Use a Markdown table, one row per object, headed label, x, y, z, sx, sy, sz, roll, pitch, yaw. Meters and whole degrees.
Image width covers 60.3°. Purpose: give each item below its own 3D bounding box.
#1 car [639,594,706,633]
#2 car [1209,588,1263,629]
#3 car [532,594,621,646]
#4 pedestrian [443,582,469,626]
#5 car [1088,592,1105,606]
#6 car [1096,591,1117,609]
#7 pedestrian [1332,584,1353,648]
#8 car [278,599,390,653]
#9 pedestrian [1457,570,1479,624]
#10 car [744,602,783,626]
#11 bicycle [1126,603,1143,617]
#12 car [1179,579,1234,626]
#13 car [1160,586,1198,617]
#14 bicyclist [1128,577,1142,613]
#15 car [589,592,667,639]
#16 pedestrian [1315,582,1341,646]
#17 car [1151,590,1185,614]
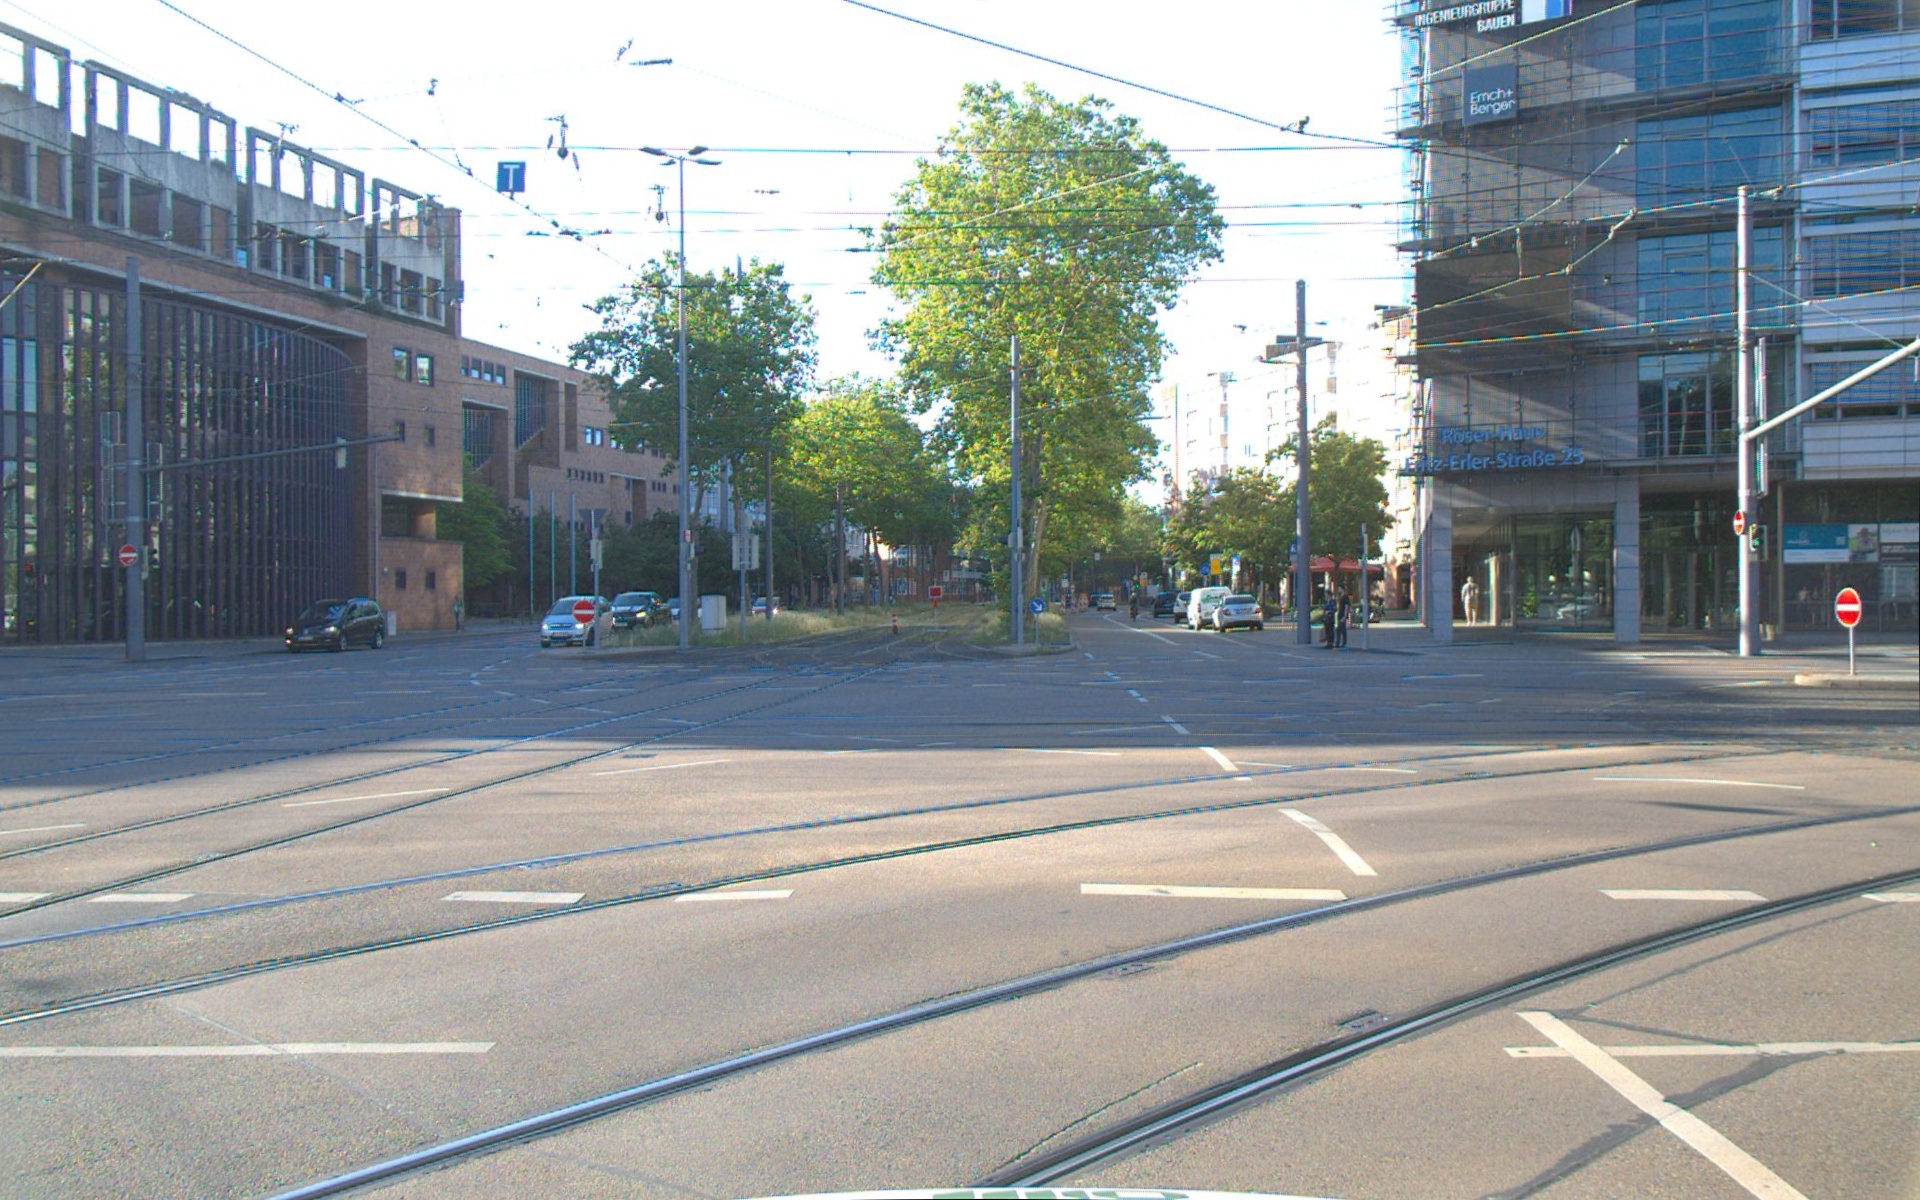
| label | x | y | z | sx | sy | sz | roll | pitch | yaw |
| --- | --- | --- | --- | --- | --- | --- | --- | --- | --- |
| car | -12.242 | 0.541 | 70.620 | 1.815 | 1.579 | 4.327 | -1 | 0 | 4 |
| car | 11.283 | 0.329 | 67.840 | 1.814 | 1.579 | 4.328 | -1 | 0 | 5 |
| car | -12.687 | 0.644 | 54.998 | 1.694 | 1.625 | 4.327 | -1 | 0 | 4 |
| pedestrian | -23.774 | 0.200 | 78.028 | 0.879 | 2.049 | 0.757 | -1 | 0 | 25 |
| car | 15.346 | -0.101 | 185.737 | 1.814 | 1.579 | 4.328 | -1 | 0 | 6 |
| car | 13.513 | -0.015 | 152.617 | 1.814 | 1.579 | 4.328 | -1 | 0 | 6 |
| pedestrian | 11.145 | 0.457 | 48.175 | 0.366 | 1.855 | 0.545 | -1 | 0 | -12 |
| car | -21.139 | 0.847 | 56.061 | 1.795 | 1.683 | 4.502 | -2 | 0 | 4 |
| pedestrian | 19.423 | -0.128 | 63.247 | 0.659 | 2.049 | 0.515 | -1 | 0 | 6 |
| car | -11.118 | 0.777 | 93.271 | 1.809 | 1.243 | 3.987 | -1 | 0 | -12 |
| bicycle | 10.015 | 0.565 | 94.767 | 0.800 | 0.788 | 1.731 | -1 | 0 | 11 |
| car | 11.095 | 0.109 | 74.675 | 1.952 | 2.049 | 4.386 | -1 | 0 | 2 |
| car | 11.894 | 0.074 | 90.147 | 1.814 | 1.579 | 4.328 | -1 | 0 | 5 |
| bicyclist | 10.060 | -0.268 | 94.889 | 0.736 | 2.049 | 0.744 | 0 | 0 | 12 |
| car | -12.505 | 0.549 | 62.526 | 1.815 | 1.679 | 4.327 | -1 | 0 | 4 |
| pedestrian | 10.874 | 0.414 | 48.903 | 0.533 | 1.855 | 0.587 | -1 | 0 | -12 |
| car | 14.018 | 0.140 | 111.739 | 2.214 | 1.579 | 4.328 | -1 | 0 | 7 |
